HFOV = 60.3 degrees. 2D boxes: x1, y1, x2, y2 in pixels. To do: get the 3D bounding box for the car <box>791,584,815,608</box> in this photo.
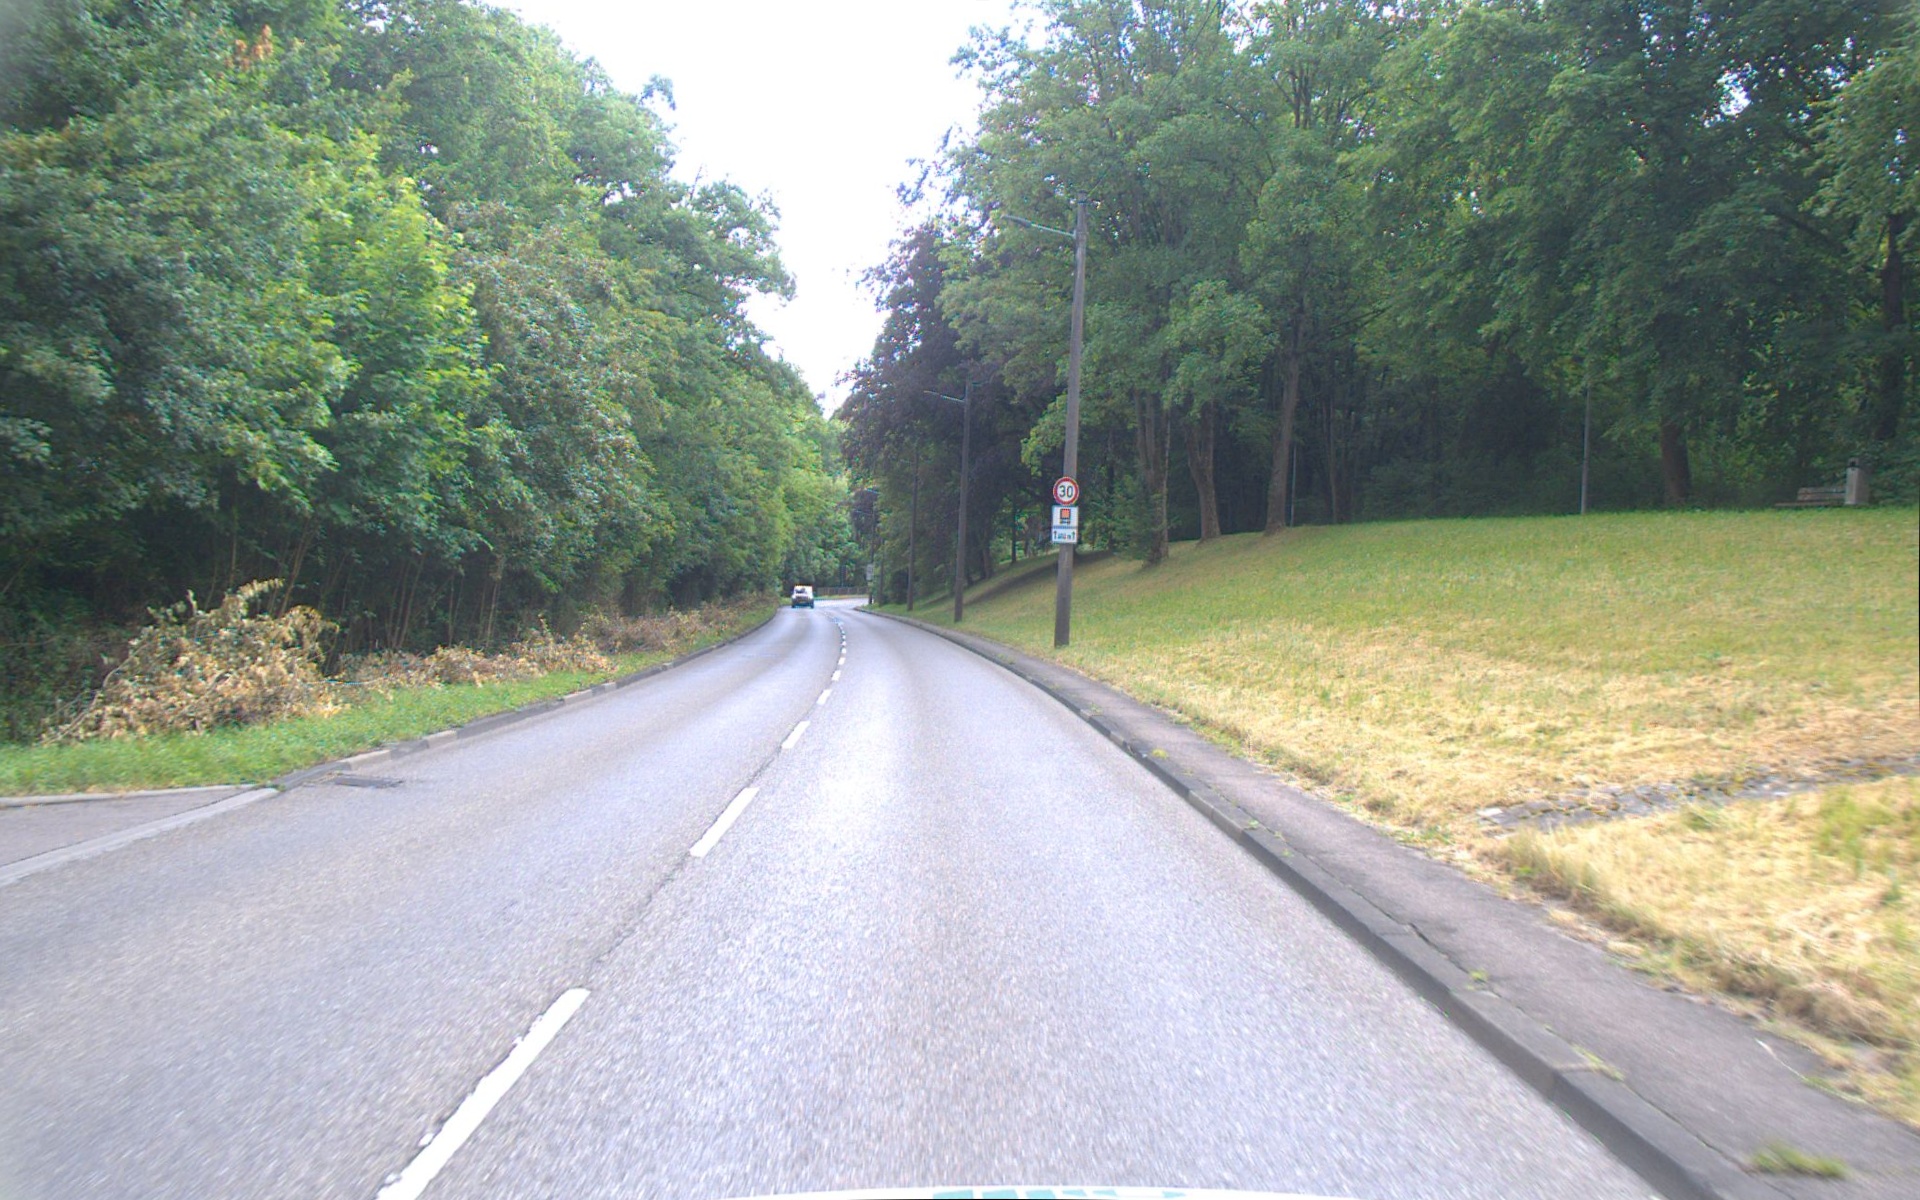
[{"bbox_3d":[-13.533,-0.364,142.723,1.954,1.982,4.941,1,0,-4],"label":"car"}]
